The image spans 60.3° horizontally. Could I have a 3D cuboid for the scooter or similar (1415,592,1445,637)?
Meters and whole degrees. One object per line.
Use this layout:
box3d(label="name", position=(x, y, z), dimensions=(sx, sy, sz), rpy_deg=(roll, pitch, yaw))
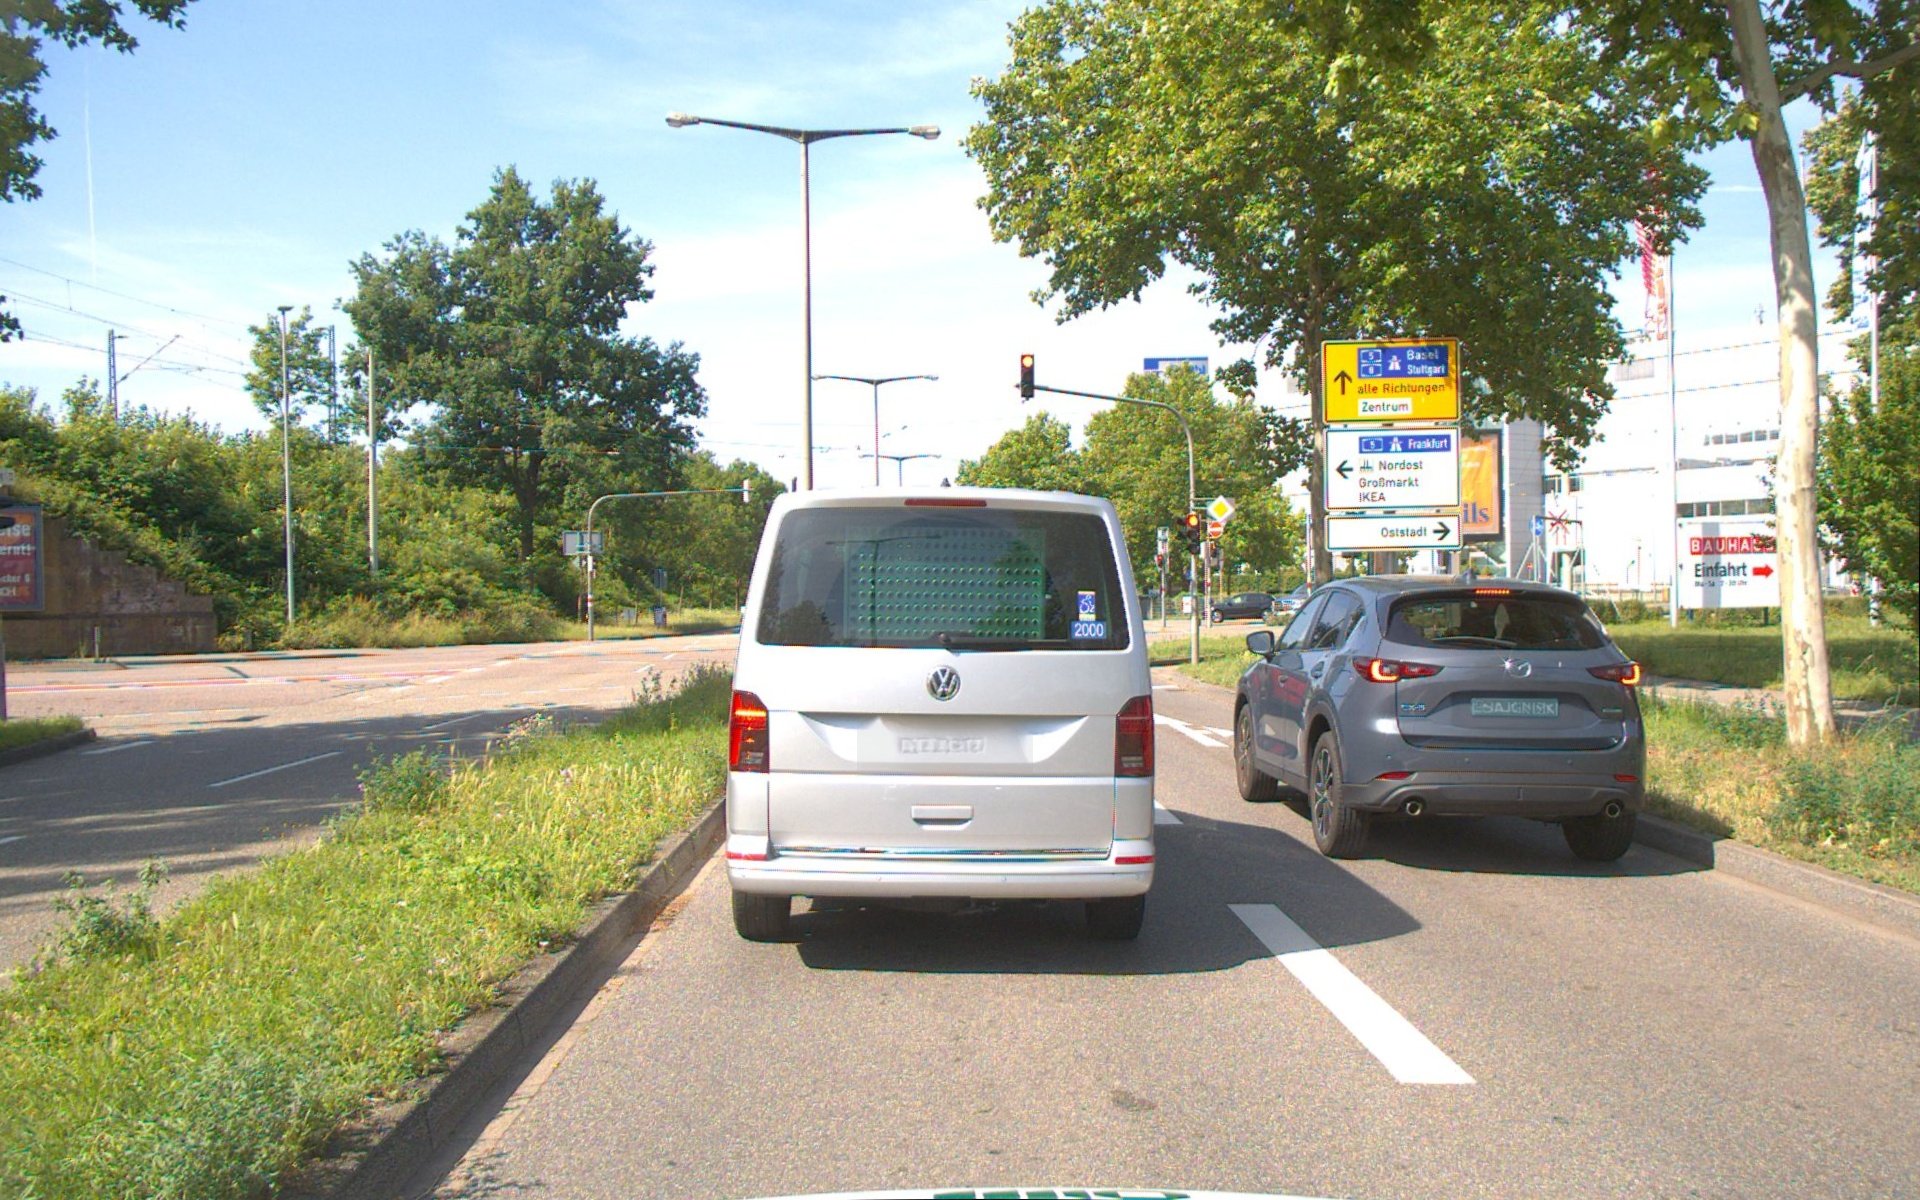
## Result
box3d(label="scooter or similar", position=(12.087, 0.366, 42.572), dimensions=(0.416, 1.146, 1.123), rpy_deg=(-1, 0, -2))

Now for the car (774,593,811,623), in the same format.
box3d(label="car", position=(-9.341, 0.430, 92.314), dimensions=(1.813, 1.588, 3.998), rpy_deg=(-1, 0, -3))

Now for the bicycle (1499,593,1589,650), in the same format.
box3d(label="bicycle", position=(12.499, 0.463, 35.447), dimensions=(1.748, 1.127, 0.504), rpy_deg=(-3, -1, 18))

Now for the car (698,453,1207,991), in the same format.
box3d(label="car", position=(-0.062, 0.450, 8.723), dimensions=(1.902, 2.006, 5.021), rpy_deg=(0, 0, -1))

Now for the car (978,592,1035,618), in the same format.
box3d(label="car", position=(2.728, 0.278, 97.344), dimensions=(1.750, 1.469, 4.598), rpy_deg=(-1, 0, -21))

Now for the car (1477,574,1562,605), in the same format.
box3d(label="car", position=(27.887, -0.529, 82.415), dimensions=(4.578, 1.469, 1.758), rpy_deg=(-1, 0, -38))

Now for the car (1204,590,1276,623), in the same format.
box3d(label="car", position=(14.144, 0.349, 83.563), dimensions=(3.518, 1.593, 2.002), rpy_deg=(1, 0, 10))

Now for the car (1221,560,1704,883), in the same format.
box3d(label="car", position=(3.022, 0.644, 11.009), dimensions=(1.730, 1.688, 4.495), rpy_deg=(1, 0, -2))

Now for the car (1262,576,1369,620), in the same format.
box3d(label="car", position=(14.863, -0.087, 69.040), dimensions=(4.578, 1.718, 1.890), rpy_deg=(-1, 0, -38))
